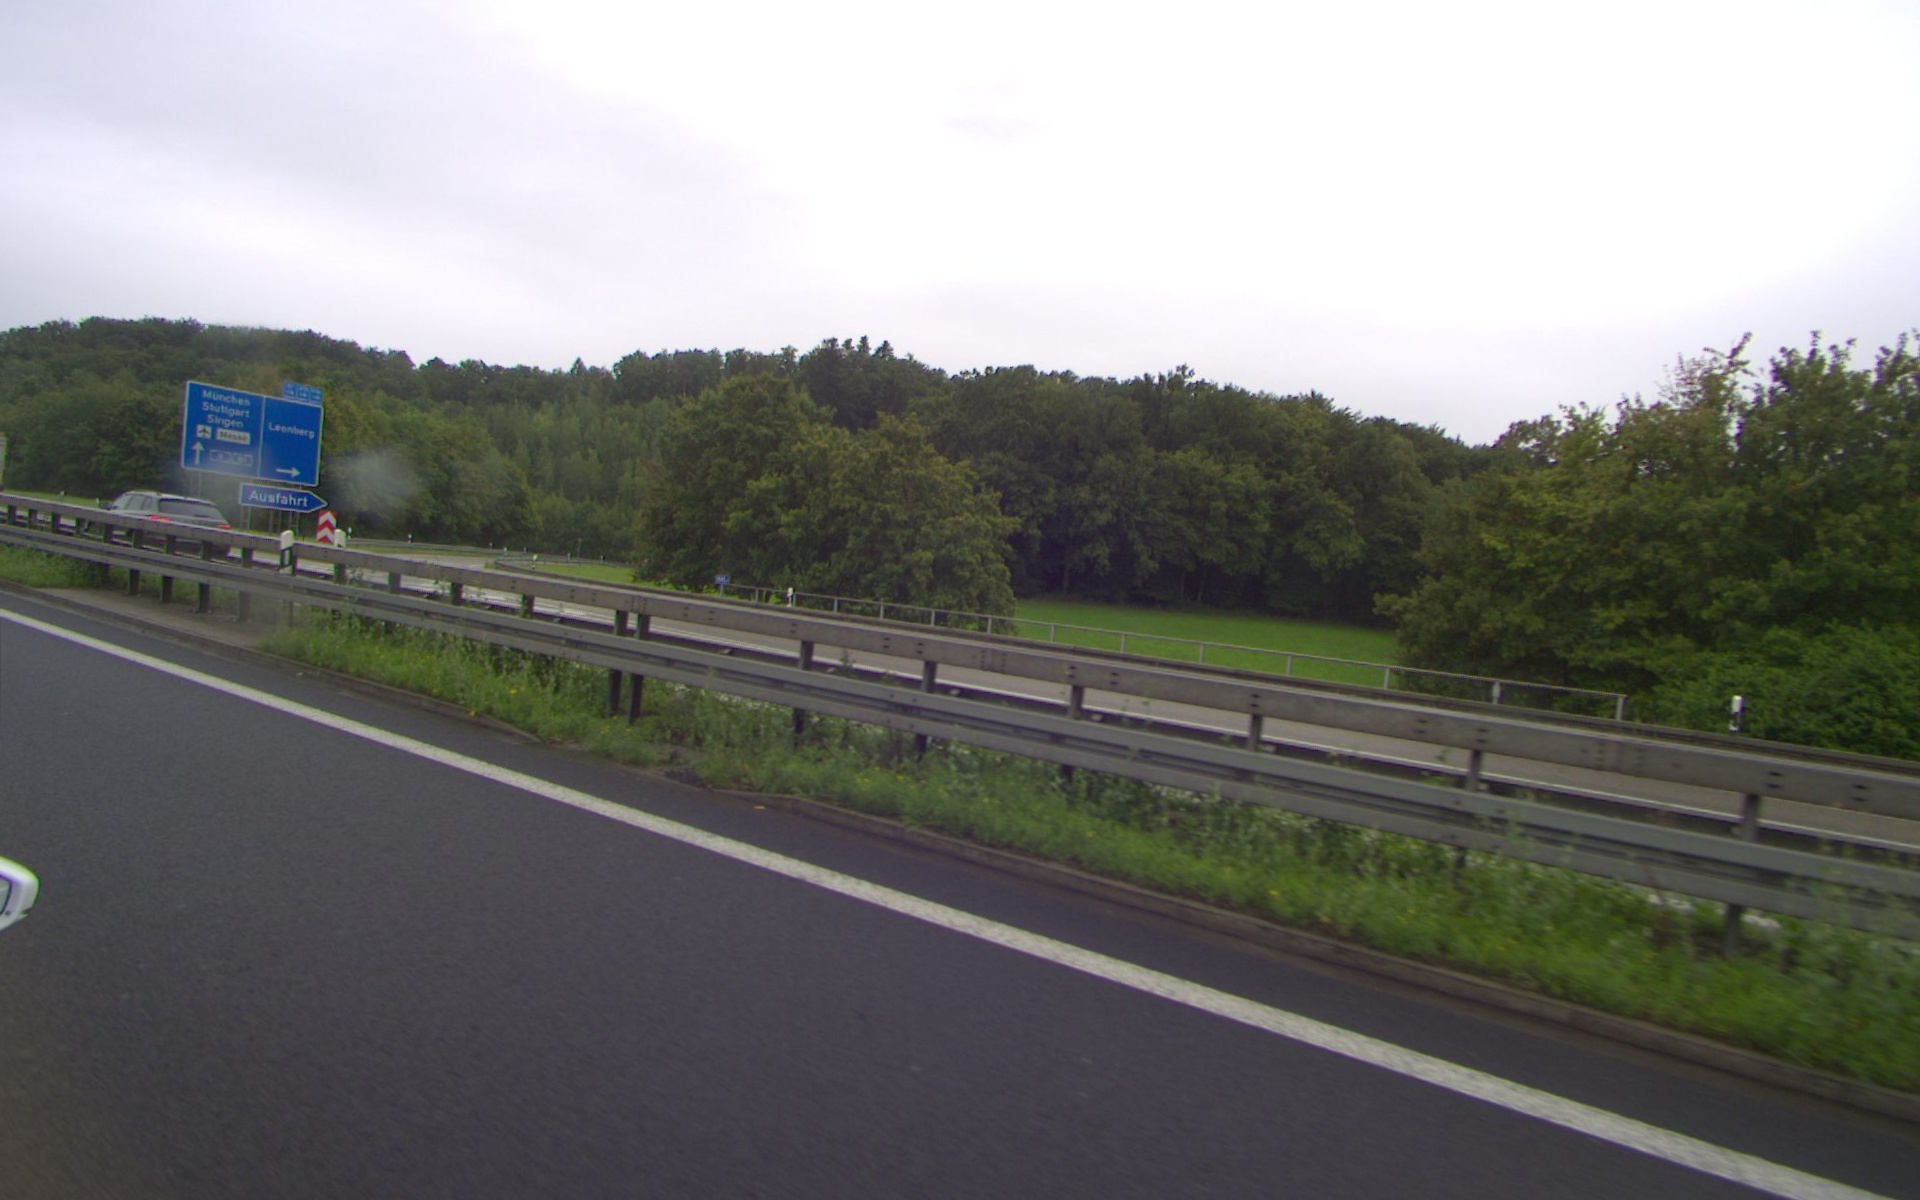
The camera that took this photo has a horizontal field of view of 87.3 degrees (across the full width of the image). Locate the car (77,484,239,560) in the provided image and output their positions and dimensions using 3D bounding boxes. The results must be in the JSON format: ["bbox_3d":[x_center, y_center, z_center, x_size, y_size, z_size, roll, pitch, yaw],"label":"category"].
[{"bbox_3d":[-19.052,-1.867,23.857,4.057,1.400,1.668,6,1,31],"label":"car"}]

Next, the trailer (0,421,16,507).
[{"bbox_3d":[-50.440,-6.996,49.745,12.290,3.942,2.606,6,0,34],"label":"trailer"}]
